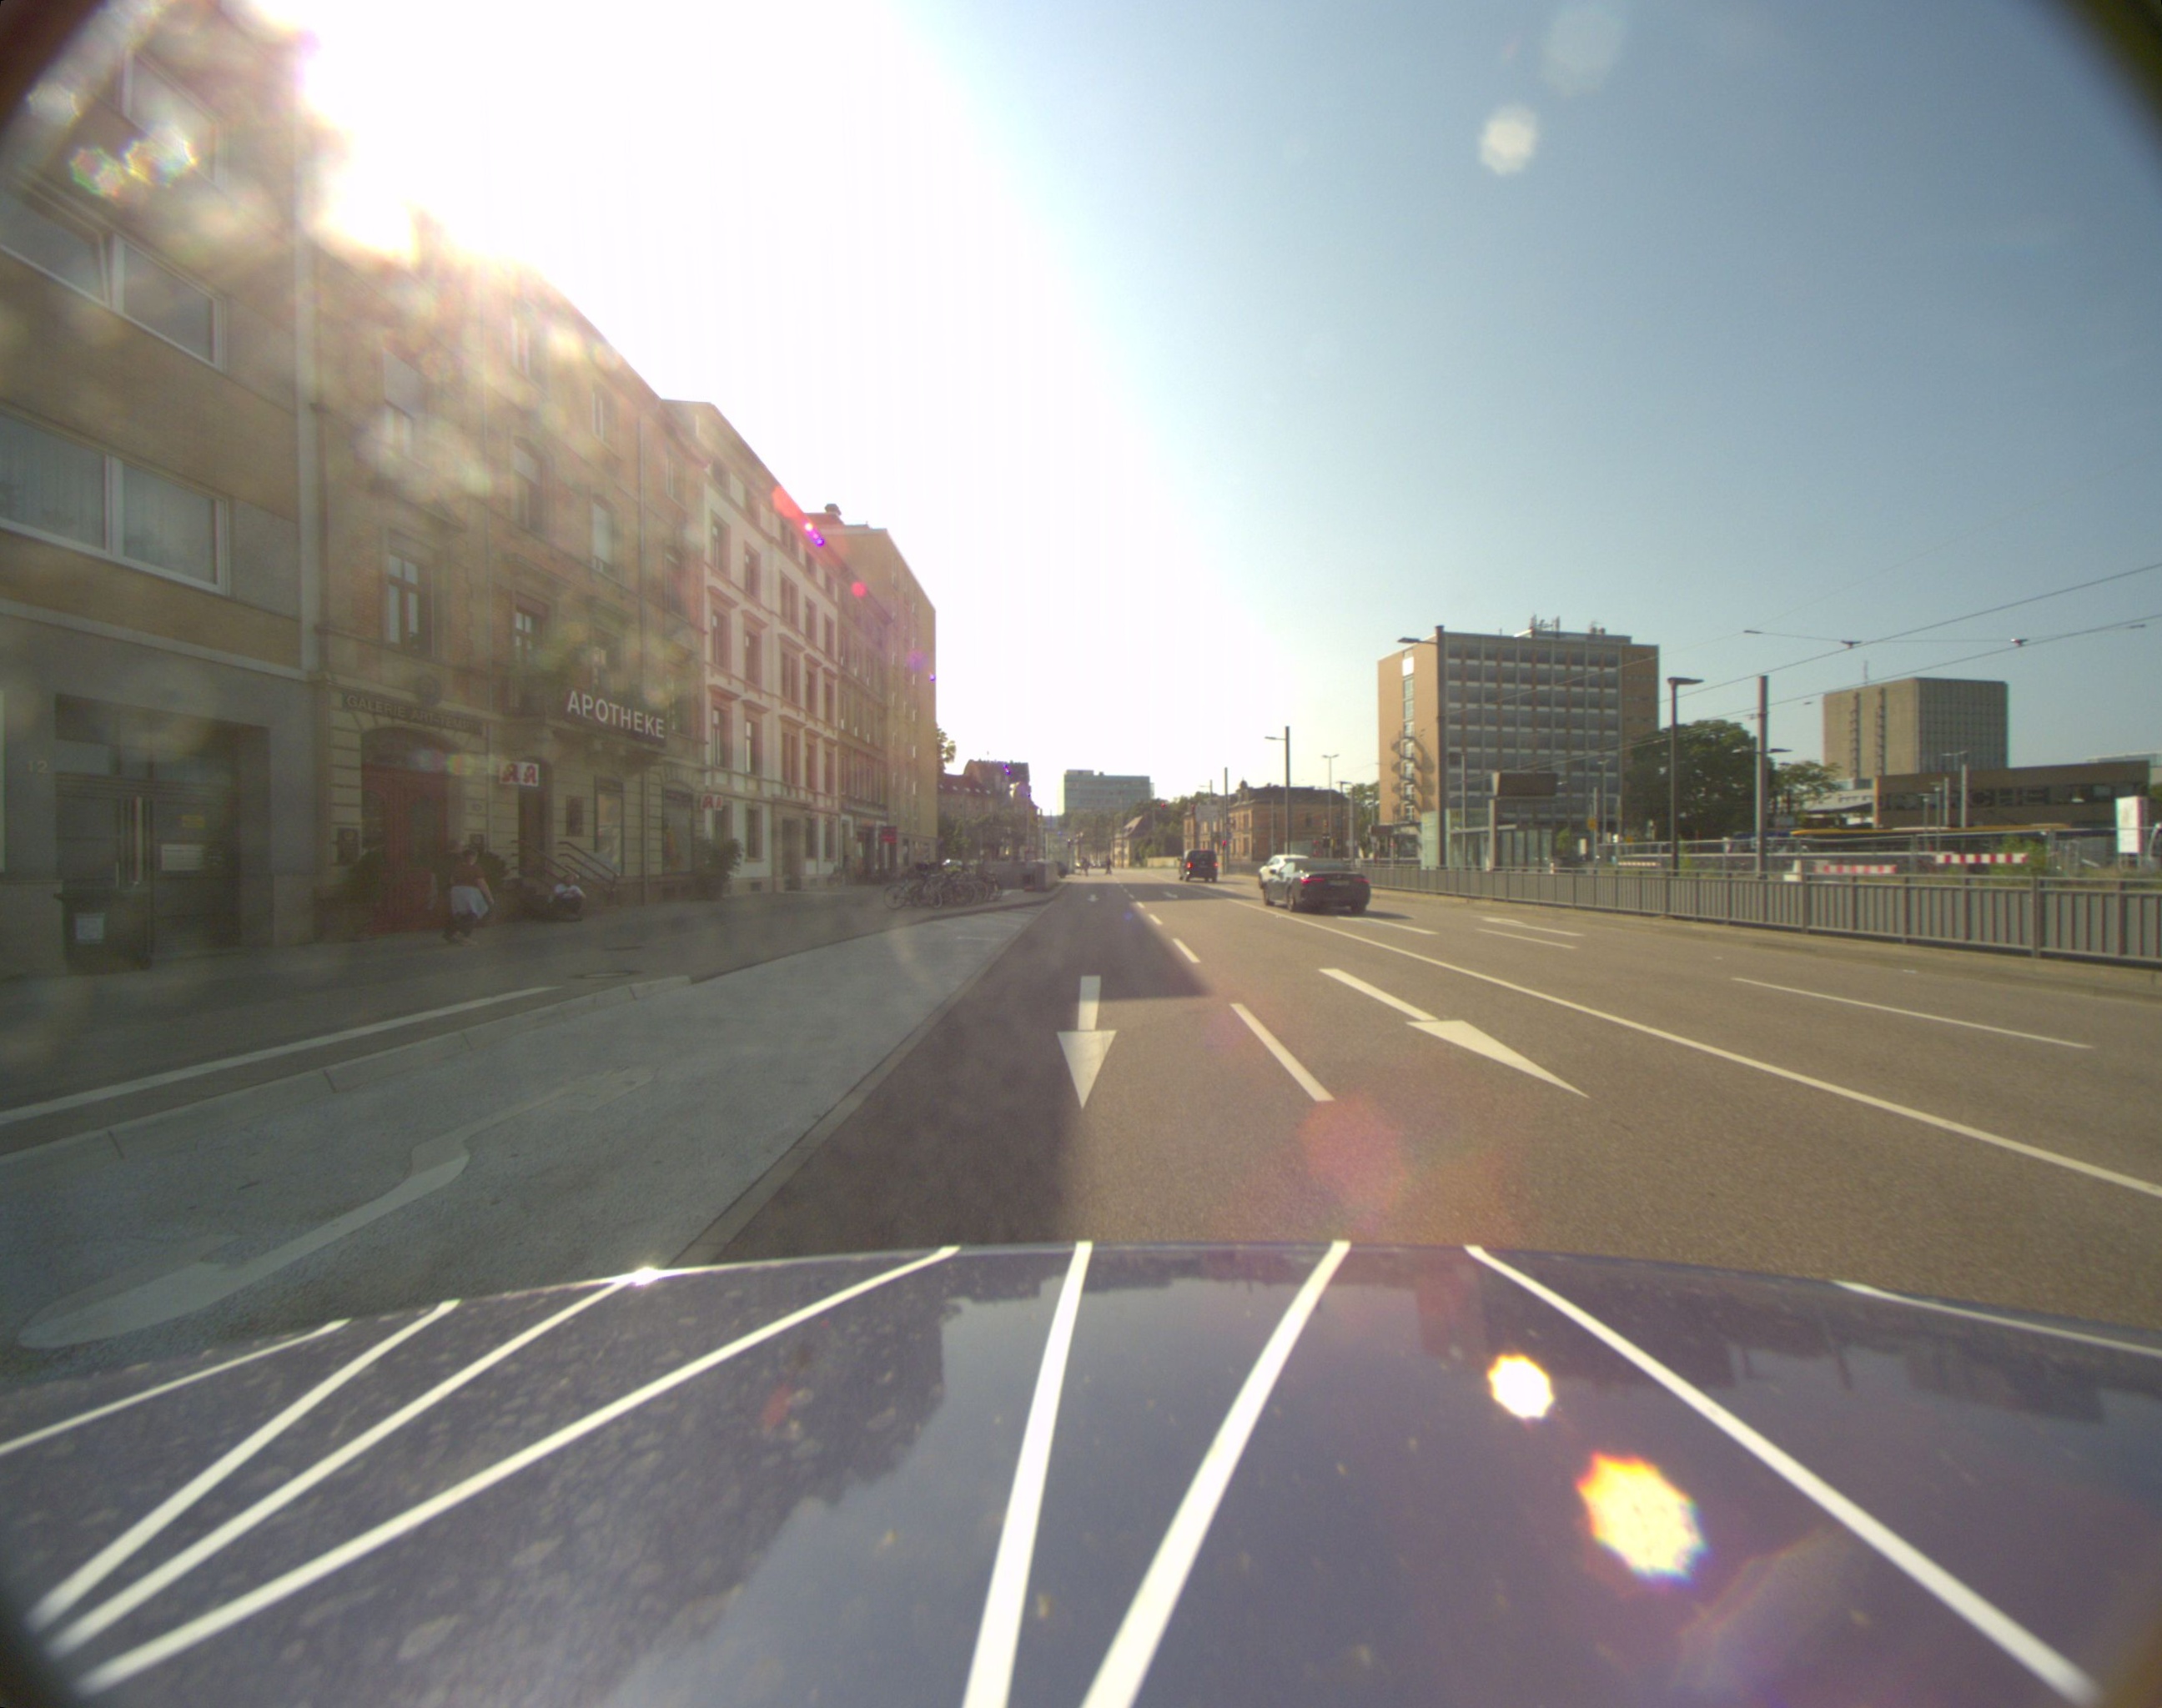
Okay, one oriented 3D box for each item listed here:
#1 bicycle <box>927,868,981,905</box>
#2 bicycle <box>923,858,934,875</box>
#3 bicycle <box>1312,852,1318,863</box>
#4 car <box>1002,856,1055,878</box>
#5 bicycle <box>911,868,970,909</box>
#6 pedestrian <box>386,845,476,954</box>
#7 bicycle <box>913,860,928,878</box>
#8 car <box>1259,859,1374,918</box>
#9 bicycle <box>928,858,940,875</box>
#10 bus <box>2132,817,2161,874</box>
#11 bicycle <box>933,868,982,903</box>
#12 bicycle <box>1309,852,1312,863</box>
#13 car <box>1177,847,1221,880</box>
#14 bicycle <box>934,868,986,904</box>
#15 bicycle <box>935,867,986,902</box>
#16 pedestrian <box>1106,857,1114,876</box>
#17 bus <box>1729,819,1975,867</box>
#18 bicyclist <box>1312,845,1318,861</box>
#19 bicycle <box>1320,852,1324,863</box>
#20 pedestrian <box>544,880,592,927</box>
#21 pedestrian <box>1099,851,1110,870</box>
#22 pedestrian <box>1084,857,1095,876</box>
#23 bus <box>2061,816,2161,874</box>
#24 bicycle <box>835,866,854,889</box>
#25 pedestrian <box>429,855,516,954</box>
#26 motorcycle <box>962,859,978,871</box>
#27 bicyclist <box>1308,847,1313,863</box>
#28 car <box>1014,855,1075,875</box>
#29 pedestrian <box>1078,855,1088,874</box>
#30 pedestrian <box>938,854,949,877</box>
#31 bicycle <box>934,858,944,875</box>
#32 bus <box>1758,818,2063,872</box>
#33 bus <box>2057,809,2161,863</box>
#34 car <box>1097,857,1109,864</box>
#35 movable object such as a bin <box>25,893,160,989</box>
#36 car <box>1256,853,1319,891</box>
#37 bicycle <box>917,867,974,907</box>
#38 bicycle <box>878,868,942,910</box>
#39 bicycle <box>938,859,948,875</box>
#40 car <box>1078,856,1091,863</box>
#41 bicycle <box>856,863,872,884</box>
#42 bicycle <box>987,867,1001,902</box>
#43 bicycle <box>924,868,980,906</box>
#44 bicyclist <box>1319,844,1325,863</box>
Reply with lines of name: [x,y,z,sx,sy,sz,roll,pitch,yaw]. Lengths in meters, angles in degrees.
bicycle: [-3.972,1.013,23.848,1.637,1.142,0.385,0,1,-3]
bicycle: [-11.391,0.950,56.870,0.604,1.254,1.996,0,0,-7]
bicycle: [24.085,0.353,78.193,0.402,1.103,1.748,0,0,12]
car: [-3.732,0.887,54.485,3.535,1.455,1.618,-1,1,-40]
bicycle: [-4.018,0.980,21.776,1.637,1.142,0.385,0,1,-3]
pedestrian: [-10.883,0.739,12.747,0.721,1.777,0.856,0,1,2]
bicycle: [-11.434,1.027,54.174,0.604,1.254,1.997,0,0,1]
car: [6.095,0.832,20.185,1.717,1.323,4.521,1,0,1]
bicycle: [-11.441,0.955,59.220,0.604,1.254,1.849,0,0,1]
bus: [65.307,-0.512,38.803,13.278,3.160,3.232,0,0,45]
bicycle: [-4.203,1.065,25.898,1.637,1.142,0.385,0,1,-3]
bicycle: [24.430,0.355,80.765,0.311,1.158,1.501,-1,0,17]
car: [7.181,0.561,46.703,1.998,1.893,4.716,1,0,1]
bicycle: [-3.907,1.031,24.569,1.637,1.142,0.385,0,1,-3]
bicycle: [-4.030,1.000,25.402,1.637,1.142,0.385,0,1,-3]
pedestrian: [2.523,1.091,65.470,0.634,1.588,0.468,2,1,0]
bus: [59.724,-0.746,59.630,3.232,3.399,13.278,-1,0,-45]
bicyclist: [24.069,-0.069,78.156,0.588,1.647,0.791,0,1,12]
bicycle: [25.644,0.349,80.857,0.376,1.158,1.861,-1,0,17]
pedestrian: [-11.355,1.081,16.819,0.612,0.976,0.637,0,1,21]
pedestrian: [2.161,0.592,69.551,0.834,1.778,0.729,2,1,9]
pedestrian: [0.712,1.059,63.332,0.809,1.539,0.548,2,1,3]
bus: [67.237,-0.553,43.546,3.232,3.399,13.278,-1,0,-45]
bicycle: [-12.126,1.173,38.984,0.384,1.127,1.719,0,0,2]
pedestrian: [-10.120,0.814,12.669,0.721,1.601,0.856,0,1,2]
motorcycle: [-11.146,1.093,76.217,0.704,1.140,2.304,0,0,17]
bicyclist: [24.397,0.123,80.721,0.511,1.620,0.808,-1,0,16]
car: [-2.796,0.816,58.618,4.418,1.415,1.843,-1,1,-40]
pedestrian: [0.184,0.916,66.870,0.816,1.683,0.651,2,1,2]
pedestrian: [-9.755,0.814,53.927,0.610,1.619,0.737,0,1,2]
bicycle: [-10.721,0.898,57.360,0.604,1.254,1.996,0,0,-7]
bus: [53.720,-0.480,50.179,13.278,3.160,3.232,0,0,45]
bus: [72.048,-1.167,47.455,3.232,3.399,13.278,-1,0,-45]
car: [3.958,1.137,137.635,1.693,1.319,3.997,0,0,-7]
movable object such as a bin: [-12.059,1.035,9.298,0.739,1.074,0.669,0,0,-15]
car: [9.311,0.760,34.649,1.717,1.602,4.505,1,0,1]
bicycle: [-4.011,0.976,22.530,1.637,1.142,0.385,0,1,-3]
bicycle: [-4.745,0.975,21.165,1.636,1.142,0.602,0,1,3]
bicycle: [-11.375,1.062,62.563,0.470,1.254,1.637,0,0,1]
car: [0.588,1.042,141.469,1.927,1.368,3.997,0,0,-7]
bicycle: [-12.125,1.099,42.471,0.384,1.127,1.719,0,0,2]
bicycle: [-2.970,1.027,26.085,0.408,1.142,1.655,0,0,-4]
bicycle: [-3.921,0.995,23.124,1.637,1.142,0.385,0,1,-3]
bicyclist: [25.635,-0.064,80.776,0.580,1.963,0.808,-1,0,16]
